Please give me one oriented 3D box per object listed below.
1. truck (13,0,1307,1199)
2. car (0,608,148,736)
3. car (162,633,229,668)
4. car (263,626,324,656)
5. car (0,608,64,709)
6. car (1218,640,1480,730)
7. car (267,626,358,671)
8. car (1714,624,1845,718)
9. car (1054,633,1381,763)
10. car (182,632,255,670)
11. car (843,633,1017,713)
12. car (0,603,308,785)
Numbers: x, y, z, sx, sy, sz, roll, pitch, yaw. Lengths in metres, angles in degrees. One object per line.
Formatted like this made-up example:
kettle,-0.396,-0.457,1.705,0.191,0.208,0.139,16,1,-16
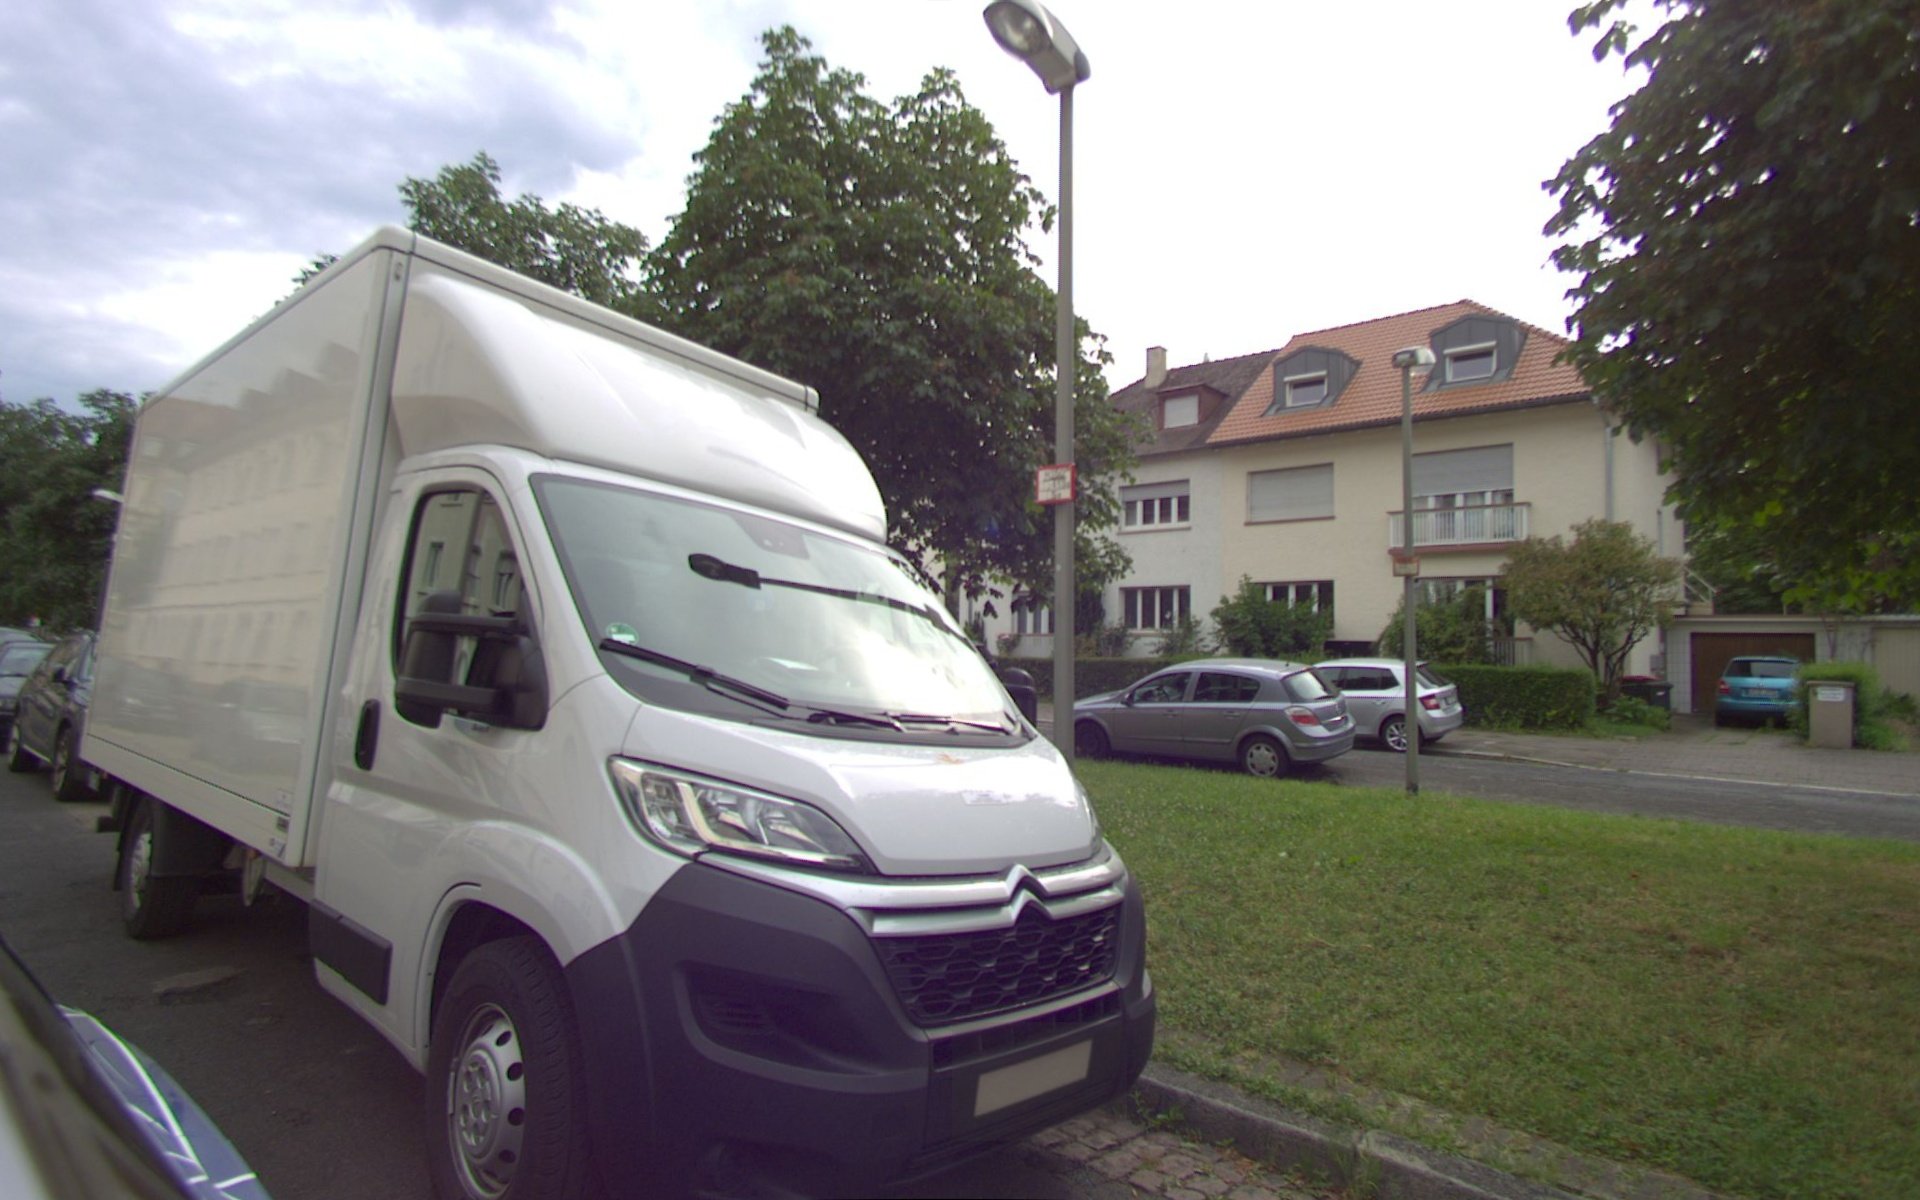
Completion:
truck,-2.280,0.067,4.929,7.108,2.979,2.412,-2,-8,41
car,-12.699,0.929,13.843,4.147,1.526,1.623,-2,-3,39
car,-38.810,2.535,51.324,4.004,1.652,1.944,-2,-2,41
car,-38.106,2.316,57.833,4.004,1.652,1.944,-2,-2,41
car,-18.267,1.032,18.694,4.310,1.721,1.762,-2,-7,39
car,6.772,1.409,17.823,3.940,1.365,1.781,-2,-2,41
car,-25.100,1.836,39.177,4.004,1.652,1.944,-2,-2,41
car,17.761,1.433,21.868,1.999,1.741,3.945,-2,-1,42
car,3.440,1.223,13.958,4.004,1.499,1.781,-2,-2,41
car,-34.914,2.357,47.597,4.004,1.652,1.944,-2,-2,41
car,-0.798,1.714,24.705,4.099,1.686,1.781,-2,1,41
car,-8.466,0.910,10.441,4.147,1.526,1.623,-2,-7,39
